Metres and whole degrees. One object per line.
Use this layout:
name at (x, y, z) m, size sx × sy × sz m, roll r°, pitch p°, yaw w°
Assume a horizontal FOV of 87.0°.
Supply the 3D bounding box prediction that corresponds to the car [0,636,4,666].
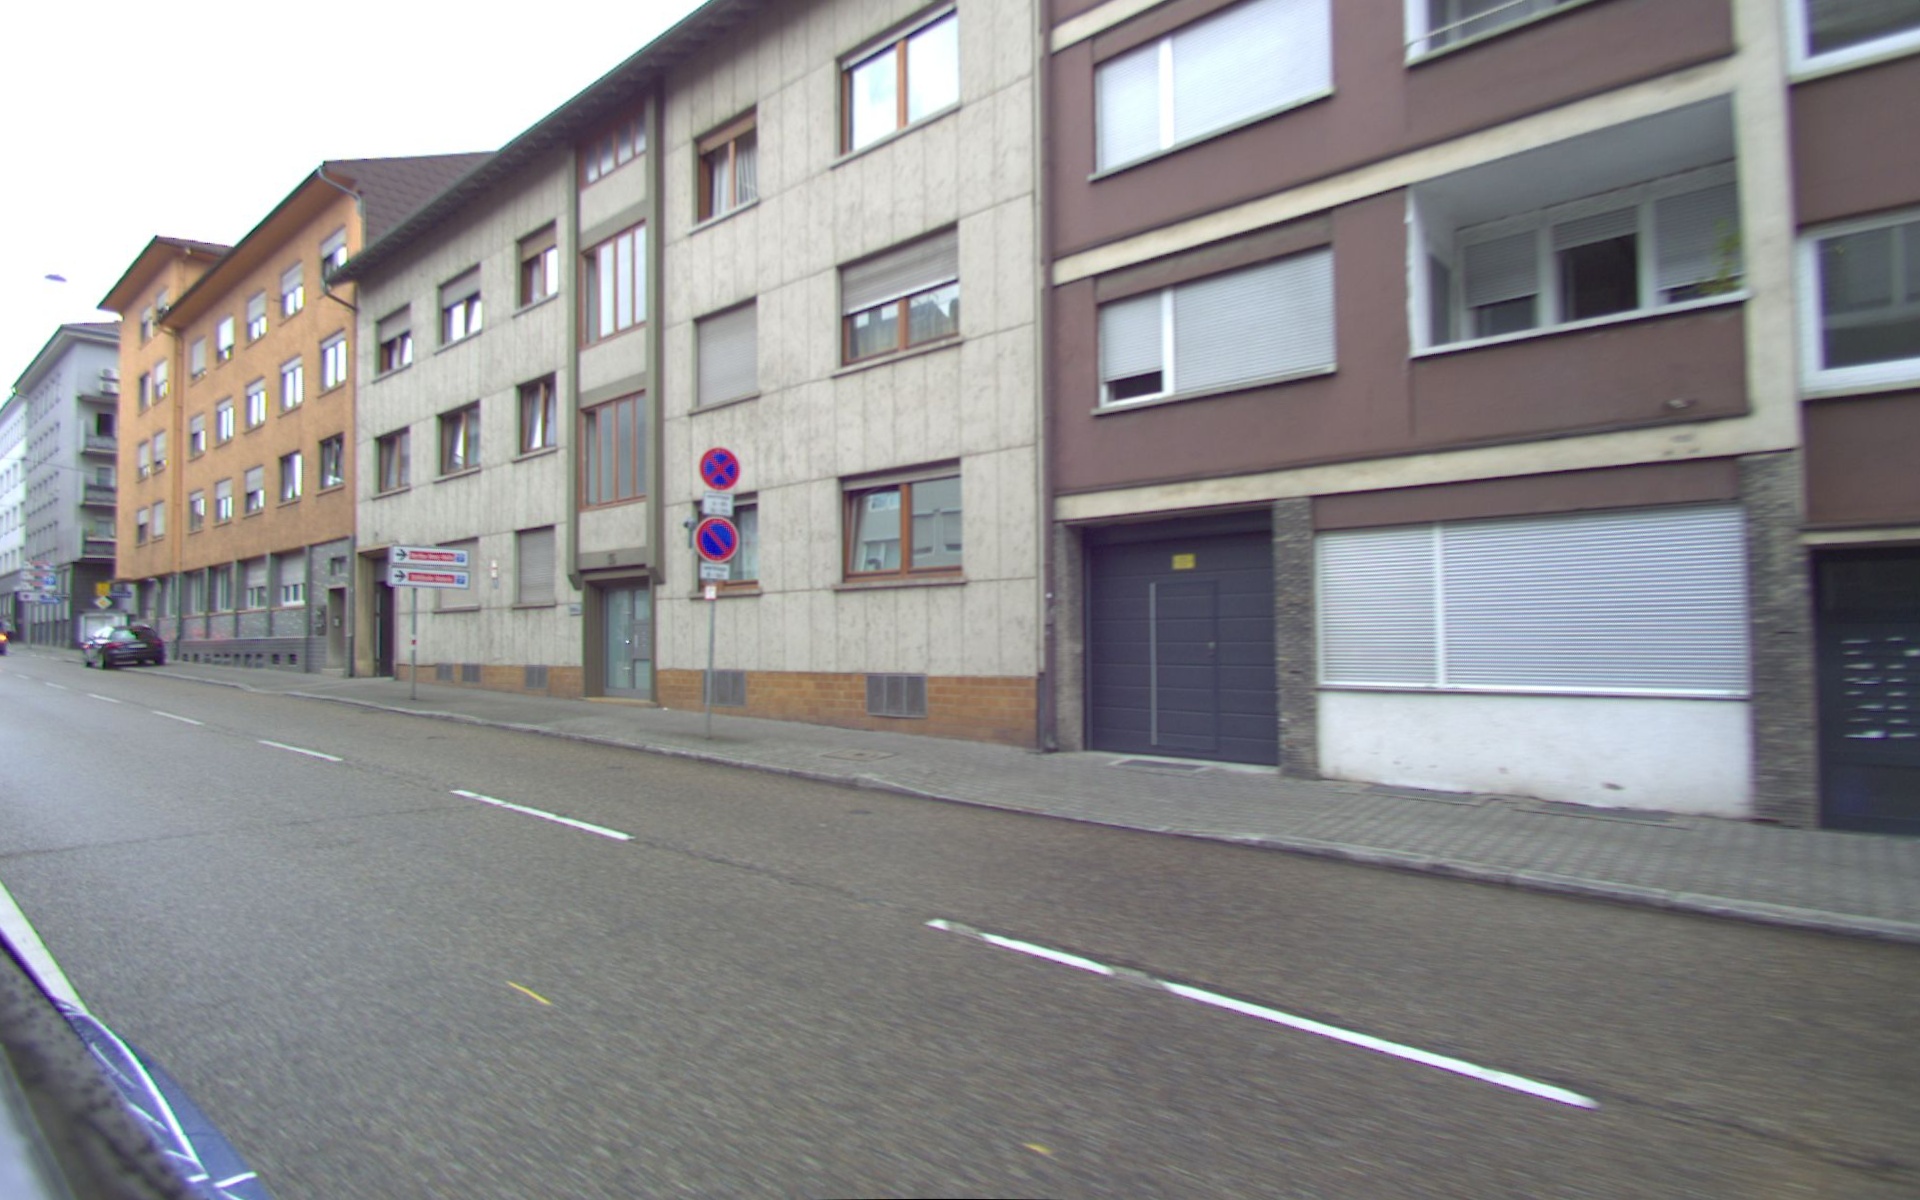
car at (-47.299, 2.383, 48.434) m, size 4.363 × 1.381 × 1.677 m, roll 0°, pitch -3°, yaw 40°

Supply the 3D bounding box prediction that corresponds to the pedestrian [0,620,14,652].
pedestrian at (-63.621, 2.394, 66.970) m, size 1.258 × 2.029 × 1.292 m, roll -1°, pitch 1°, yaw 41°

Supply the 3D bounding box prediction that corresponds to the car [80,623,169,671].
car at (-29.783, 1.637, 36.038) m, size 4.216 × 1.485 × 1.776 m, roll 0°, pitch 1°, yaw 42°
